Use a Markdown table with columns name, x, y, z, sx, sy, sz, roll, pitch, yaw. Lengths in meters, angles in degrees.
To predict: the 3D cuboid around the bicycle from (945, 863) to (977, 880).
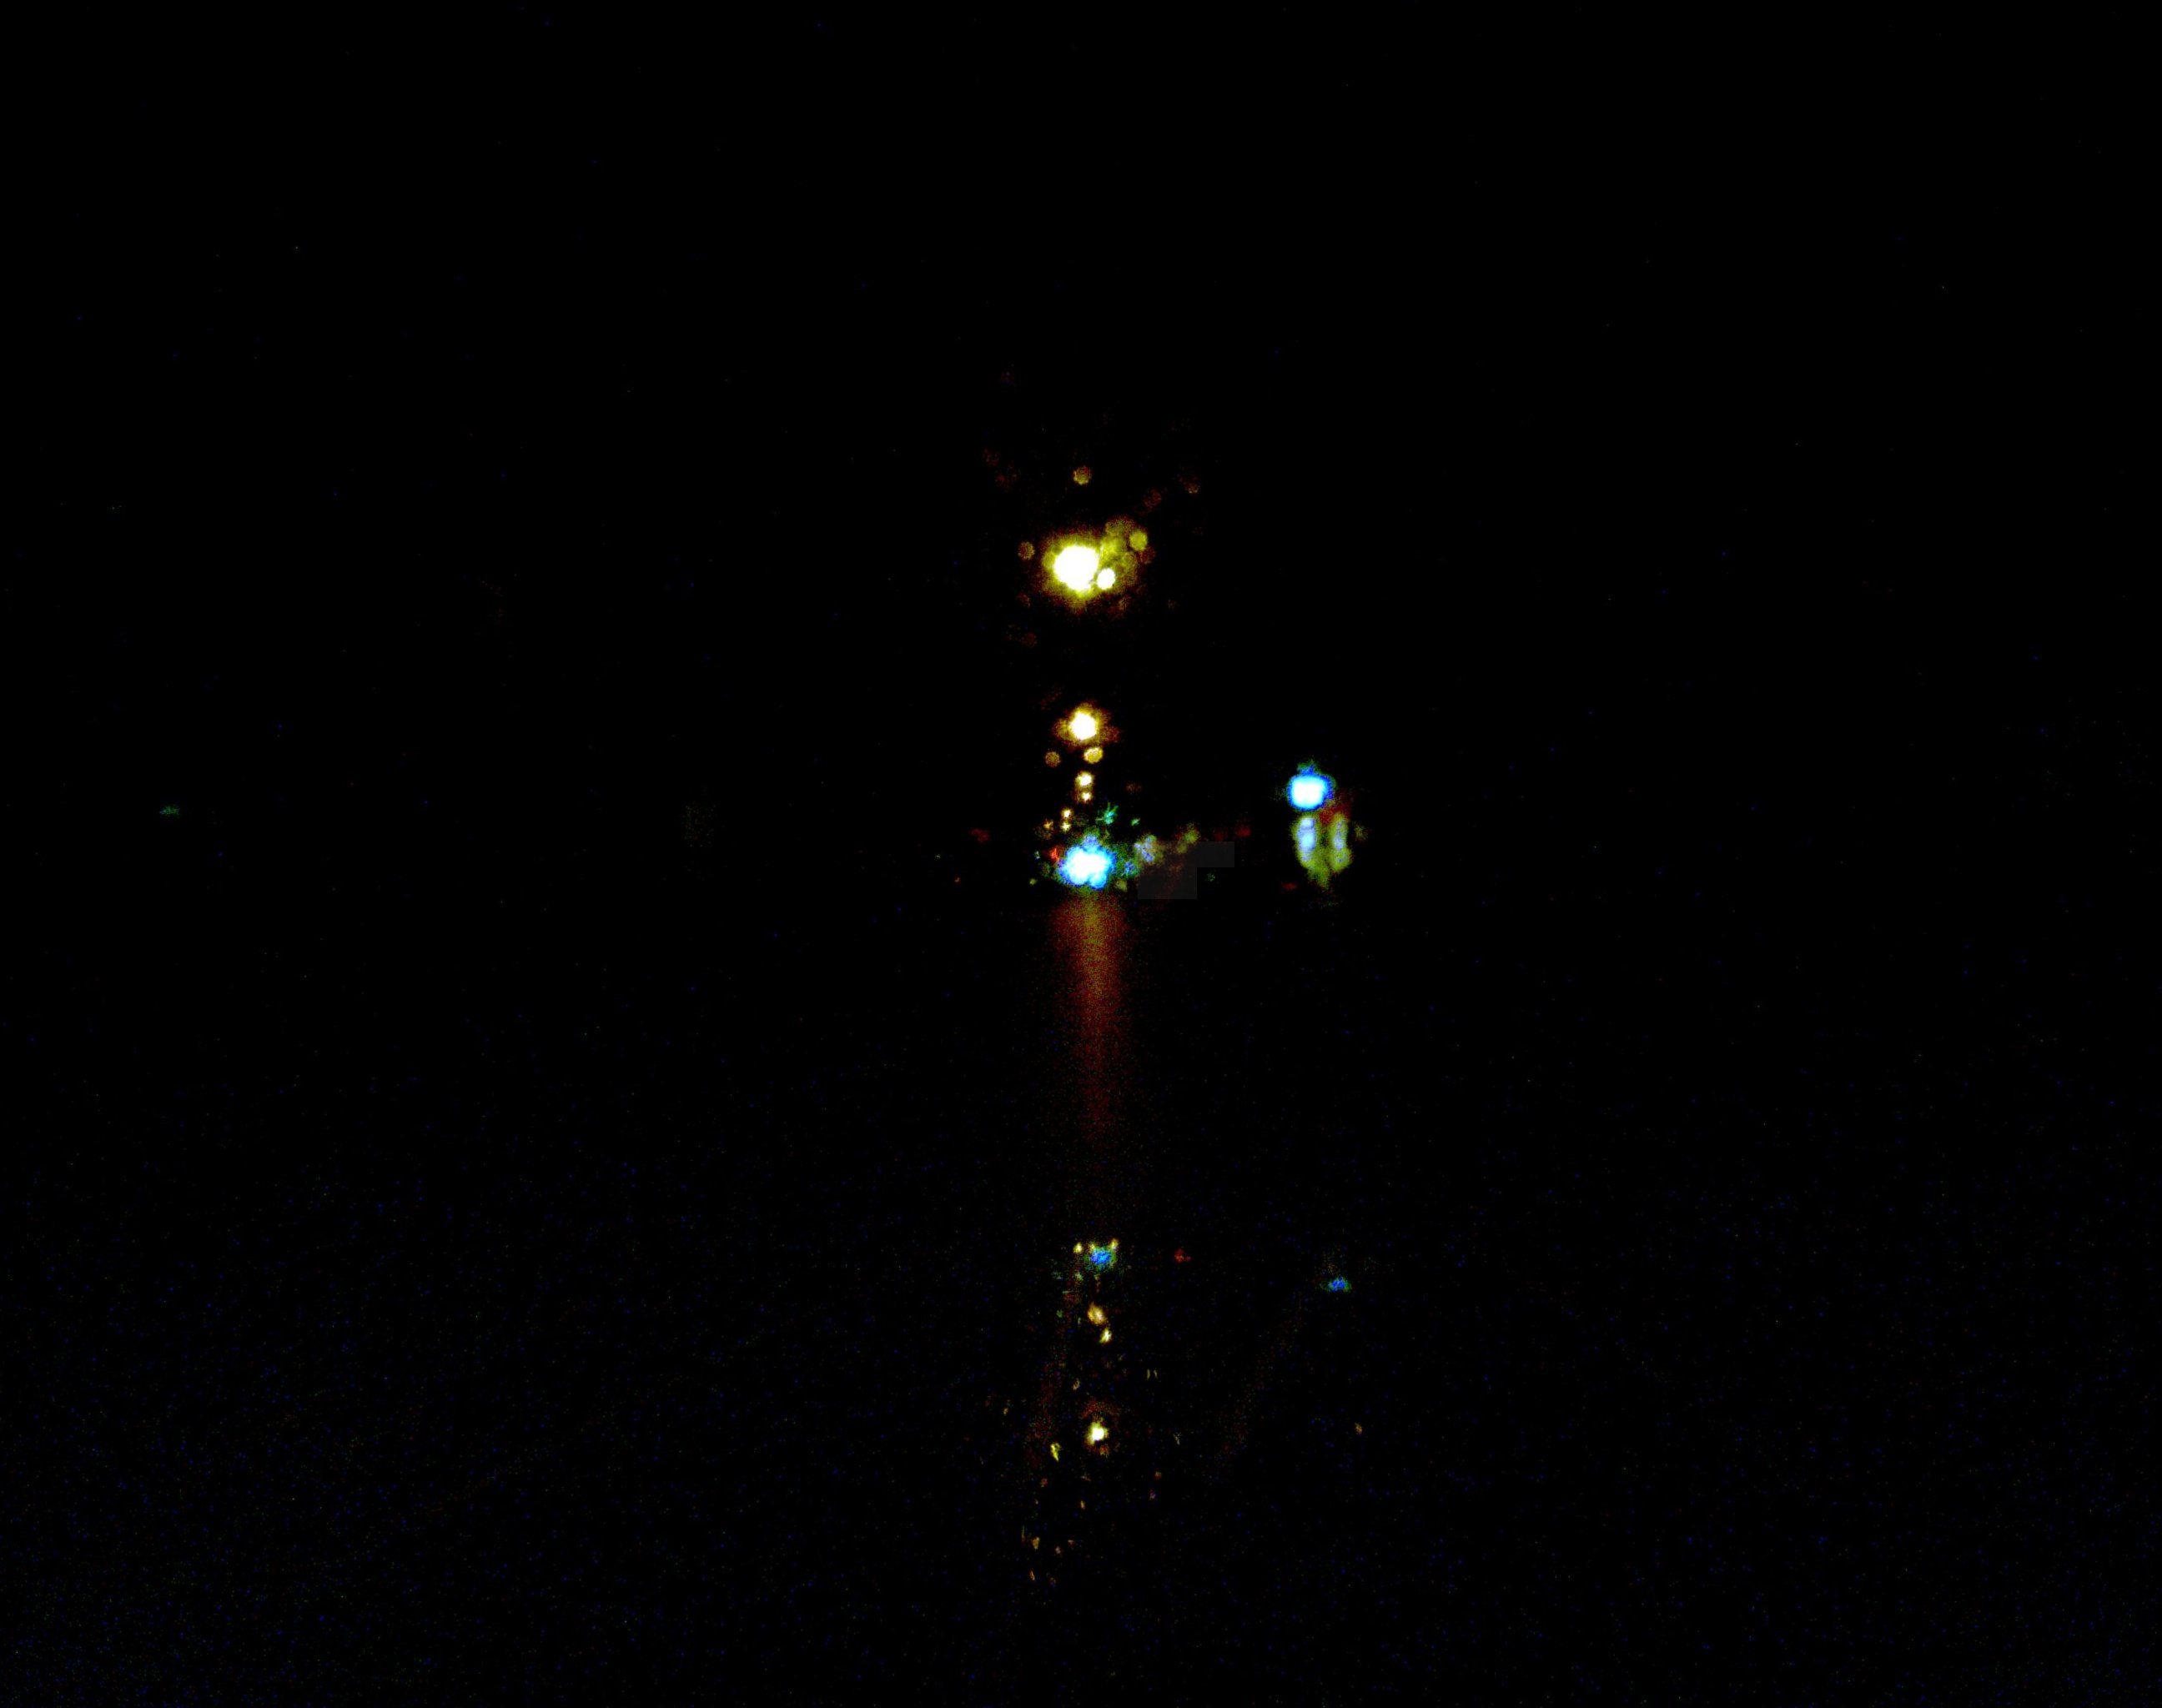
| name | x | y | z | sx | sy | sz | roll | pitch | yaw |
| --- | --- | --- | --- | --- | --- | --- | --- | --- | --- |
| bicycle | -7.809 | 1.156 | 49.463 | 1.977 | 1.048 | 0.509 | 2 | 0 | -6 |

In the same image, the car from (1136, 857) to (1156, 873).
| name | x | y | z | sx | sy | sz | roll | pitch | yaw |
| --- | --- | --- | --- | --- | --- | --- | --- | --- | --- |
| car | 6.116 | 1.028 | 71.605 | 1.550 | 1.434 | 3.563 | -3 | 0 | 0 |

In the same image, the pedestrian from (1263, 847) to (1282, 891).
| name | x | y | z | sx | sy | sz | roll | pitch | yaw |
| --- | --- | --- | --- | --- | --- | --- | --- | --- | --- |
| pedestrian | 7.733 | 0.606 | 30.685 | 0.641 | 1.770 | 0.549 | -1 | 0 | 1 |

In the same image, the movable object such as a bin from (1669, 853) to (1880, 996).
| name | x | y | z | sx | sy | sz | roll | pitch | yaw |
| --- | --- | --- | --- | --- | --- | --- | --- | --- | --- |
| movable object such as a bin | 7.549 | 0.723 | 8.367 | 1.143 | 1.411 | 1.248 | -3 | 0 | 3 |

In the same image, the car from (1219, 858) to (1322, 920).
| name | x | y | z | sx | sy | sz | roll | pitch | yaw |
| --- | --- | --- | --- | --- | --- | --- | --- | --- | --- |
| car | 5.020 | 0.869 | 20.725 | 1.690 | 1.447 | 4.315 | -2 | 0 | 0 |

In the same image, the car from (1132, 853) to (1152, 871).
| name | x | y | z | sx | sy | sz | roll | pitch | yaw |
| --- | --- | --- | --- | --- | --- | --- | --- | --- | --- |
| car | 6.453 | 0.871 | 81.273 | 1.871 | 1.835 | 4.827 | -1 | 0 | 1 |

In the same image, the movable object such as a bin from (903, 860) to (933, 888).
| name | x | y | z | sx | sy | sz | roll | pitch | yaw |
| --- | --- | --- | --- | --- | --- | --- | --- | --- | --- |
| movable object such as a bin | -8.268 | 1.011 | 38.596 | 1.258 | 1.364 | 0.999 | 3 | 0 | 1 |

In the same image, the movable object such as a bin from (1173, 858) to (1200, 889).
| name | x | y | z | sx | sy | sz | roll | pitch | yaw |
| --- | --- | --- | --- | --- | --- | --- | --- | --- | --- |
| movable object such as a bin | 5.122 | 0.944 | 36.904 | 1.167 | 1.451 | 1.107 | -3 | 0 | 3 |

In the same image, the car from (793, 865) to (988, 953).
| name | x | y | z | sx | sy | sz | roll | pitch | yaw |
| --- | --- | --- | --- | --- | --- | --- | --- | --- | --- |
| car | -3.987 | 1.073 | 15.962 | 3.658 | 1.571 | 1.589 | -1 | 0 | -27 |

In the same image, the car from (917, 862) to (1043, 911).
| name | x | y | z | sx | sy | sz | roll | pitch | yaw |
| --- | --- | --- | --- | --- | --- | --- | --- | --- | --- |
| car | -3.509 | 1.088 | 26.642 | 4.007 | 1.543 | 1.800 | 0 | 0 | -34 |

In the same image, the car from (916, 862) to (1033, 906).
| name | x | y | z | sx | sy | sz | roll | pitch | yaw |
| --- | --- | --- | --- | --- | --- | --- | --- | --- | --- |
| car | -4.059 | 1.106 | 29.280 | 4.008 | 1.543 | 1.994 | 0 | 0 | -37 |

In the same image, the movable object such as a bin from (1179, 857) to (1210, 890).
| name | x | y | z | sx | sy | sz | roll | pitch | yaw |
| --- | --- | --- | --- | --- | --- | --- | --- | --- | --- |
| movable object such as a bin | 5.337 | 0.917 | 35.701 | 1.265 | 1.451 | 1.151 | -3 | 0 | 3 |

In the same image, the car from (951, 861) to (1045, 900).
| name | x | y | z | sx | sy | sz | roll | pitch | yaw |
| --- | --- | --- | --- | --- | --- | --- | --- | --- | --- |
| car | -3.497 | 1.081 | 32.160 | 3.659 | 1.533 | 1.556 | 0 | 0 | -29 |

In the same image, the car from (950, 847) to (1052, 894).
| name | x | y | z | sx | sy | sz | roll | pitch | yaw |
| --- | --- | --- | --- | --- | --- | --- | --- | --- | --- |
| car | -3.948 | 0.756 | 38.021 | 4.734 | 2.235 | 1.941 | 0 | 1 | -35 |

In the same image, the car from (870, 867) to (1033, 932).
| name | x | y | z | sx | sy | sz | roll | pitch | yaw |
| --- | --- | --- | --- | --- | --- | --- | --- | --- | --- |
| car | -3.213 | 1.073 | 19.067 | 3.691 | 1.452 | 1.600 | 0 | 0 | -34 |

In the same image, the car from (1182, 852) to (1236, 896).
| name | x | y | z | sx | sy | sz | roll | pitch | yaw |
| --- | --- | --- | --- | --- | --- | --- | --- | --- | --- |
| car | 5.303 | 0.787 | 31.893 | 1.607 | 1.696 | 3.721 | -2 | 0 | 0 |

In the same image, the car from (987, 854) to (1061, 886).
| name | x | y | z | sx | sy | sz | roll | pitch | yaw |
| --- | --- | --- | --- | --- | --- | --- | --- | --- | --- |
| car | -3.518 | 0.991 | 47.018 | 4.256 | 1.848 | 1.712 | 1 | 0 | -35 |

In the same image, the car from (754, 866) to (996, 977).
| name | x | y | z | sx | sy | sz | roll | pitch | yaw |
| --- | --- | --- | --- | --- | --- | --- | --- | --- | --- |
| car | -3.479 | 1.047 | 13.137 | 3.660 | 1.571 | 1.588 | -1 | 0 | -38 |

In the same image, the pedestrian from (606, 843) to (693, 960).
| name | x | y | z | sx | sy | sz | roll | pitch | yaw |
| --- | --- | --- | --- | --- | --- | --- | --- | --- | --- |
| pedestrian | -7.123 | 0.759 | 12.601 | 0.871 | 1.845 | 0.993 | 1 | 0 | -2 |

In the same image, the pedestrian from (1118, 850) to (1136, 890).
| name | x | y | z | sx | sy | sz | roll | pitch | yaw |
| --- | --- | --- | --- | --- | --- | --- | --- | --- | --- |
| pedestrian | 2.331 | 0.810 | 38.512 | 0.645 | 2.001 | 0.676 | 1 | -1 | -30 |

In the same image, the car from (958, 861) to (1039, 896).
| name | x | y | z | sx | sy | sz | roll | pitch | yaw |
| --- | --- | --- | --- | --- | --- | --- | --- | --- | --- |
| car | -3.819 | 1.100 | 35.197 | 3.407 | 1.533 | 1.573 | 0 | 0 | -35 |

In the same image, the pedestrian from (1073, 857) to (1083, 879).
| name | x | y | z | sx | sy | sz | roll | pitch | yaw |
| --- | --- | --- | --- | --- | --- | --- | --- | --- | --- |
| pedestrian | -0.246 | 1.121 | 60.689 | 0.824 | 1.760 | 1.177 | -1 | 0 | 0 |

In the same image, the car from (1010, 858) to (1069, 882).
| name | x | y | z | sx | sy | sz | roll | pitch | yaw |
| --- | --- | --- | --- | --- | --- | --- | --- | --- | --- |
| car | -3.153 | 1.209 | 58.114 | 4.112 | 1.754 | 1.855 | -1 | -1 | -27 |

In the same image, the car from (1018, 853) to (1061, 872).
| name | x | y | z | sx | sy | sz | roll | pitch | yaw |
| --- | --- | --- | --- | --- | --- | --- | --- | --- | --- |
| car | -5.244 | 1.034 | 96.041 | 4.951 | 2.327 | 2.226 | 0 | 0 | -34 |

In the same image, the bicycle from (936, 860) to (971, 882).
| name | x | y | z | sx | sy | sz | roll | pitch | yaw |
| --- | --- | --- | --- | --- | --- | --- | --- | --- | --- |
| bicycle | -8.040 | 1.050 | 47.997 | 1.975 | 1.327 | 0.783 | 2 | 0 | 7 |

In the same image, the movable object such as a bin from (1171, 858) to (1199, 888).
| name | x | y | z | sx | sy | sz | roll | pitch | yaw |
| --- | --- | --- | --- | --- | --- | --- | --- | --- | --- |
| movable object such as a bin | 5.204 | 0.939 | 38.079 | 1.211 | 1.451 | 1.107 | -3 | 0 | 3 |

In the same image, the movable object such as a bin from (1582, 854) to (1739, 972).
| name | x | y | z | sx | sy | sz | roll | pitch | yaw |
| --- | --- | --- | --- | --- | --- | --- | --- | --- | --- |
| movable object such as a bin | 7.596 | 0.736 | 10.038 | 1.143 | 1.411 | 1.154 | -3 | 0 | 3 |

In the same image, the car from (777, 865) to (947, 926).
| name | x | y | z | sx | sy | sz | roll | pitch | yaw |
| --- | --- | --- | --- | --- | --- | --- | --- | --- | --- |
| car | -5.748 | 1.034 | 20.056 | 4.007 | 1.443 | 1.684 | 1 | 0 | -30 |

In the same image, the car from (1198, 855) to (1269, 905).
| name | x | y | z | sx | sy | sz | roll | pitch | yaw |
| --- | --- | --- | --- | --- | --- | --- | --- | --- | --- |
| car | 5.156 | 0.843 | 26.146 | 1.607 | 1.543 | 4.025 | -2 | 0 | 0 |

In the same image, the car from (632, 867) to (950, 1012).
| name | x | y | z | sx | sy | sz | roll | pitch | yaw |
| --- | --- | --- | --- | --- | --- | --- | --- | --- | --- |
| car | -3.773 | 0.982 | 10.068 | 3.660 | 1.571 | 1.588 | 1 | 0 | -33 |

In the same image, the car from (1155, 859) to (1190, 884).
| name | x | y | z | sx | sy | sz | roll | pitch | yaw |
| --- | --- | --- | --- | --- | --- | --- | --- | --- | --- |
| car | 5.464 | 1.035 | 45.805 | 1.658 | 1.351 | 4.222 | -2 | 0 | 1 |
